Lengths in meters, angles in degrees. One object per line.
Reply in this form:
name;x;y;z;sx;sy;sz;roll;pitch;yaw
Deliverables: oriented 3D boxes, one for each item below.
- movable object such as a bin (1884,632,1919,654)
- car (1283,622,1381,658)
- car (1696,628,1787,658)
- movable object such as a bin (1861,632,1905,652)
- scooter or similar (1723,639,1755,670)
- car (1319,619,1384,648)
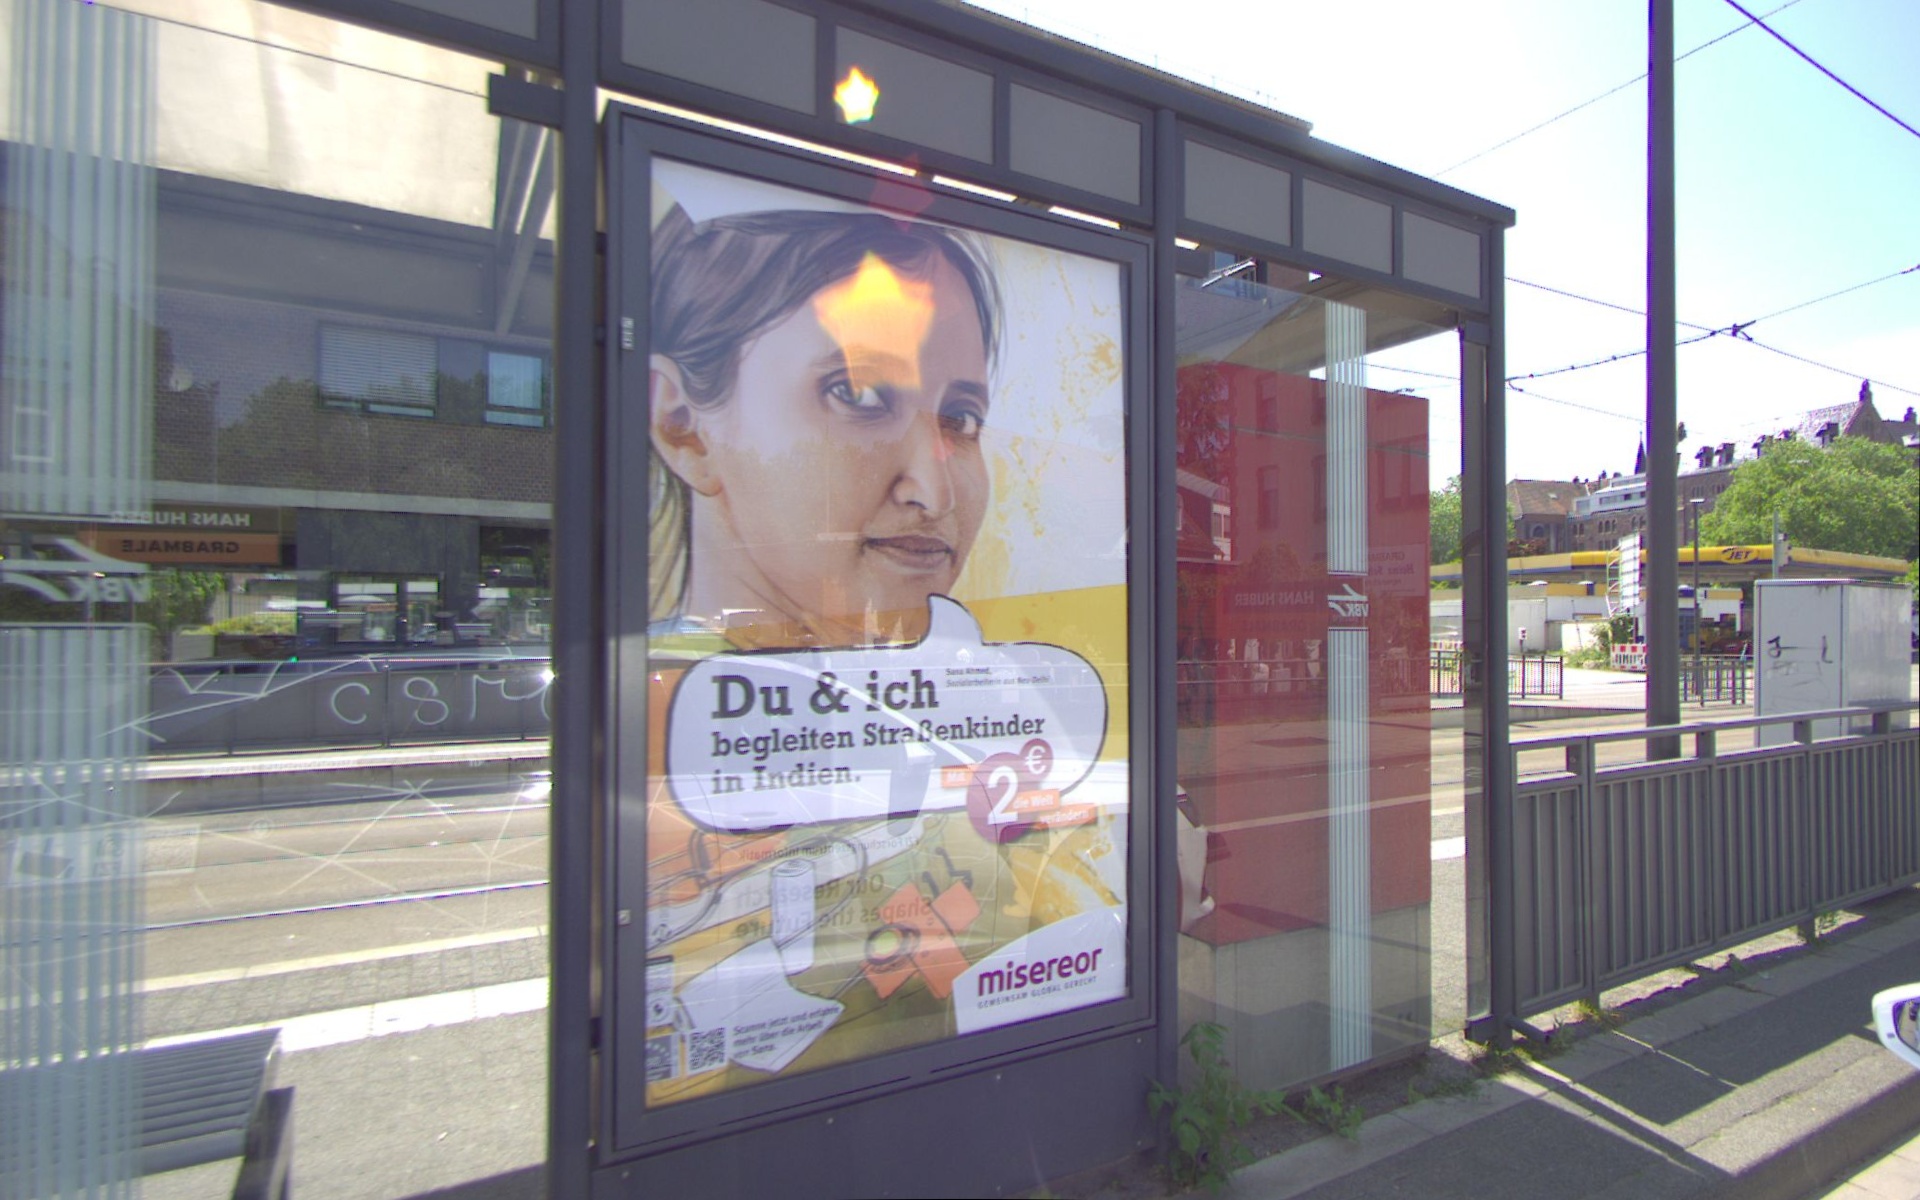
movable object such as a bin;69.604;3.158;73.827;2.063;1.529;1.522;1;0;-12
car;16.247;1.725;43.837;3.945;1.488;1.727;1;-1;-24
car;43.829;2.412;56.353;4.126;1.525;1.827;0;1;-13
movable object such as a bin;69.270;3.148;75.398;2.063;1.451;1.522;1;0;-12
scooter or similar;32.326;2.258;41.684;1.220;1.281;0.345;1;0;-11
car;25.666;2.166;65.995;1.965;1.805;4.268;1;0;-12
